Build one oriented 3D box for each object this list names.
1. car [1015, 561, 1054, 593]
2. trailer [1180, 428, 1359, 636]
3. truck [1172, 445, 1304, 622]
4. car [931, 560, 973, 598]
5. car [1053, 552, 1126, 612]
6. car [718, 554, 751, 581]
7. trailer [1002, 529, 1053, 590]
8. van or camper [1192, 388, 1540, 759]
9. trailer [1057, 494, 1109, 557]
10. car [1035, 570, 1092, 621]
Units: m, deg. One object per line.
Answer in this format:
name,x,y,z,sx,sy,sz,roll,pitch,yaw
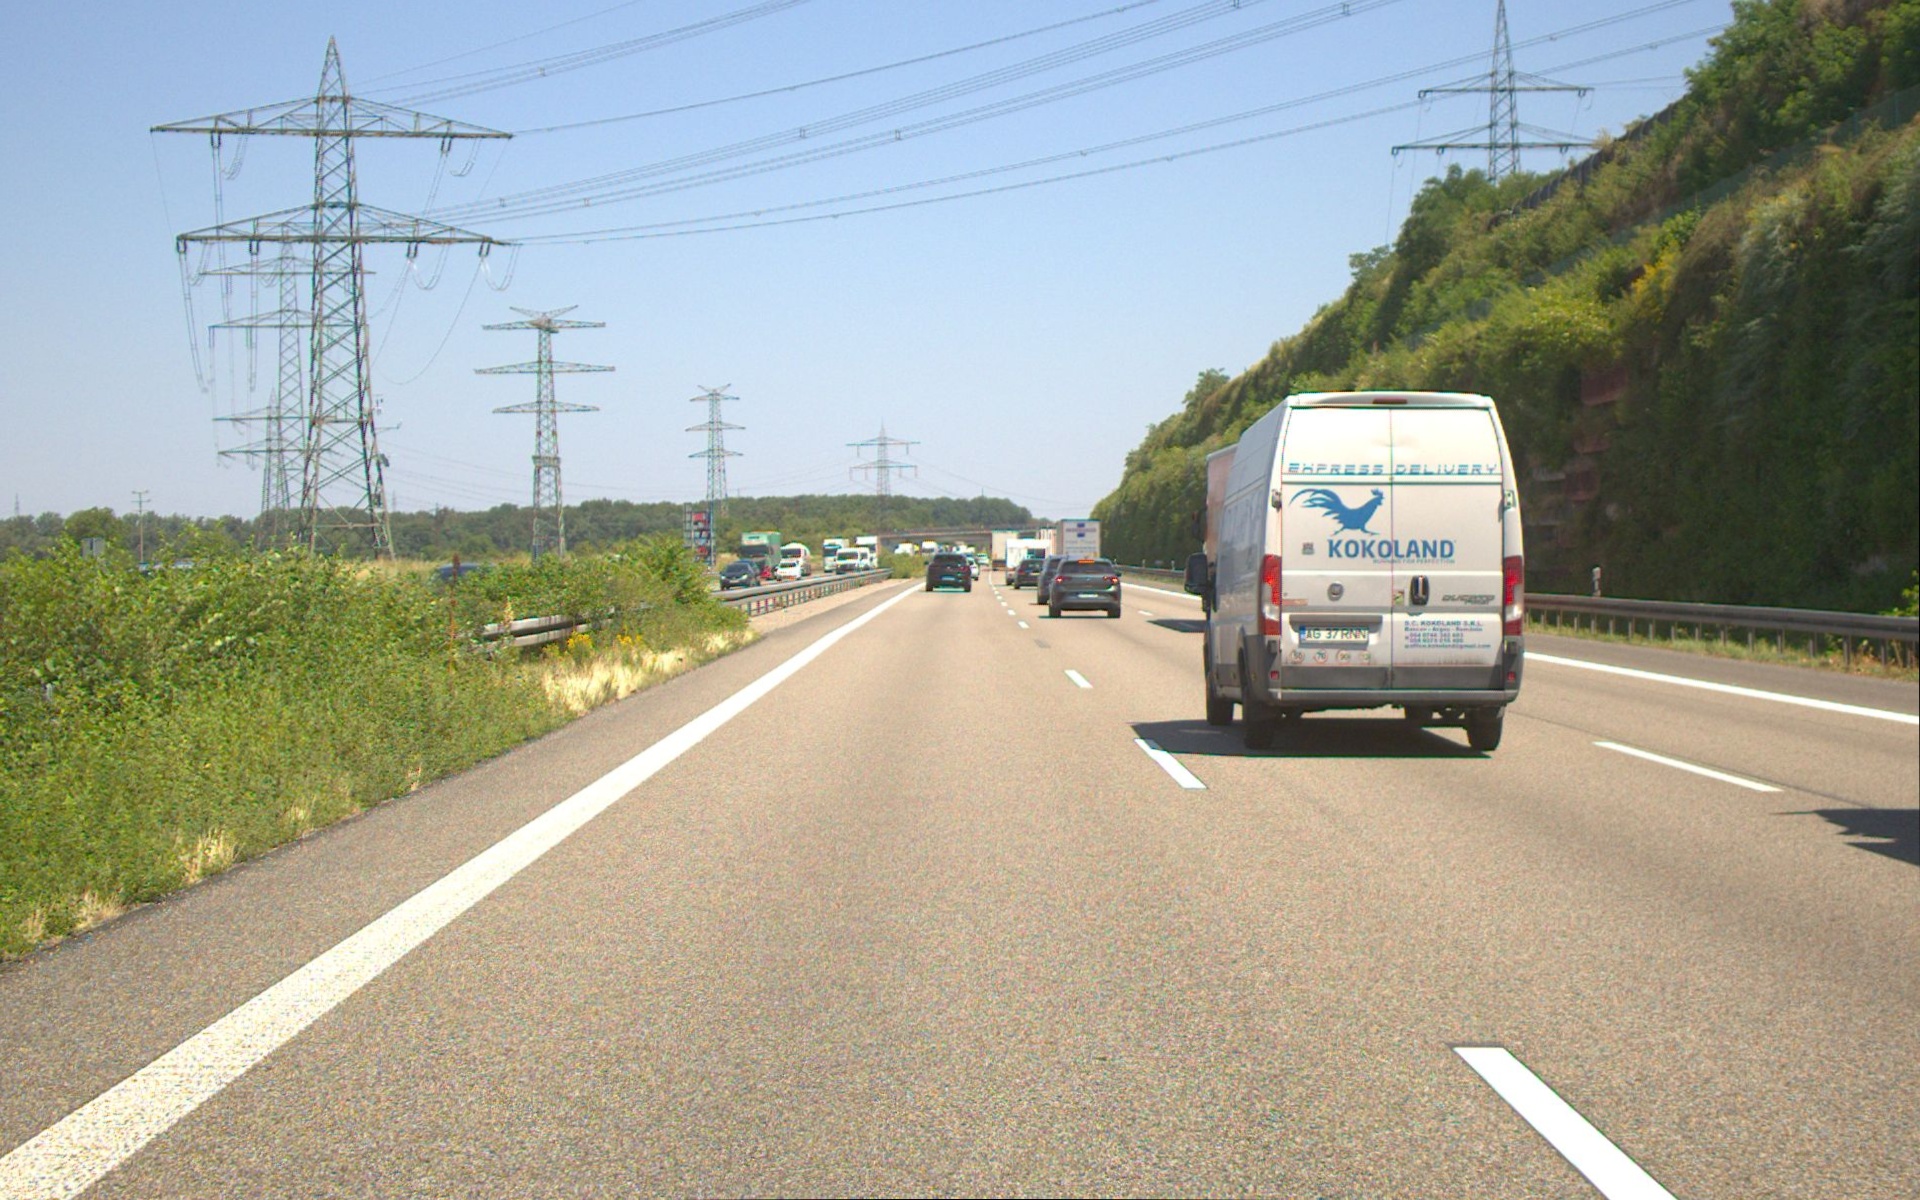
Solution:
car,3.612,-1.115,165.440,1.830,1.520,4.000,-1,1,1
trailer,6.429,-1.403,73.333,2.645,3.991,13.606,1,1,0
truck,6.476,-1.548,80.831,2.618,3.979,6.526,0,1,0
car,-0.339,-0.936,151.607,1.830,1.665,4.000,-1,1,0
car,3.343,-0.478,89.217,1.749,1.520,3.995,0,1,0
car,-12.928,-1.851,197.000,1.617,1.455,4.284,-3,1,-1
trailer,3.659,-2.216,188.790,2.610,3.202,9.953,-1,1,0
van or camper,3.256,-0.245,29.024,2.096,2.759,6.757,0,1,0
trailer,8.252,-4.988,232.719,3.183,4.107,13.431,-1,1,1
car,3.412,-0.157,114.127,1.794,1.647,4.138,0,1,1
